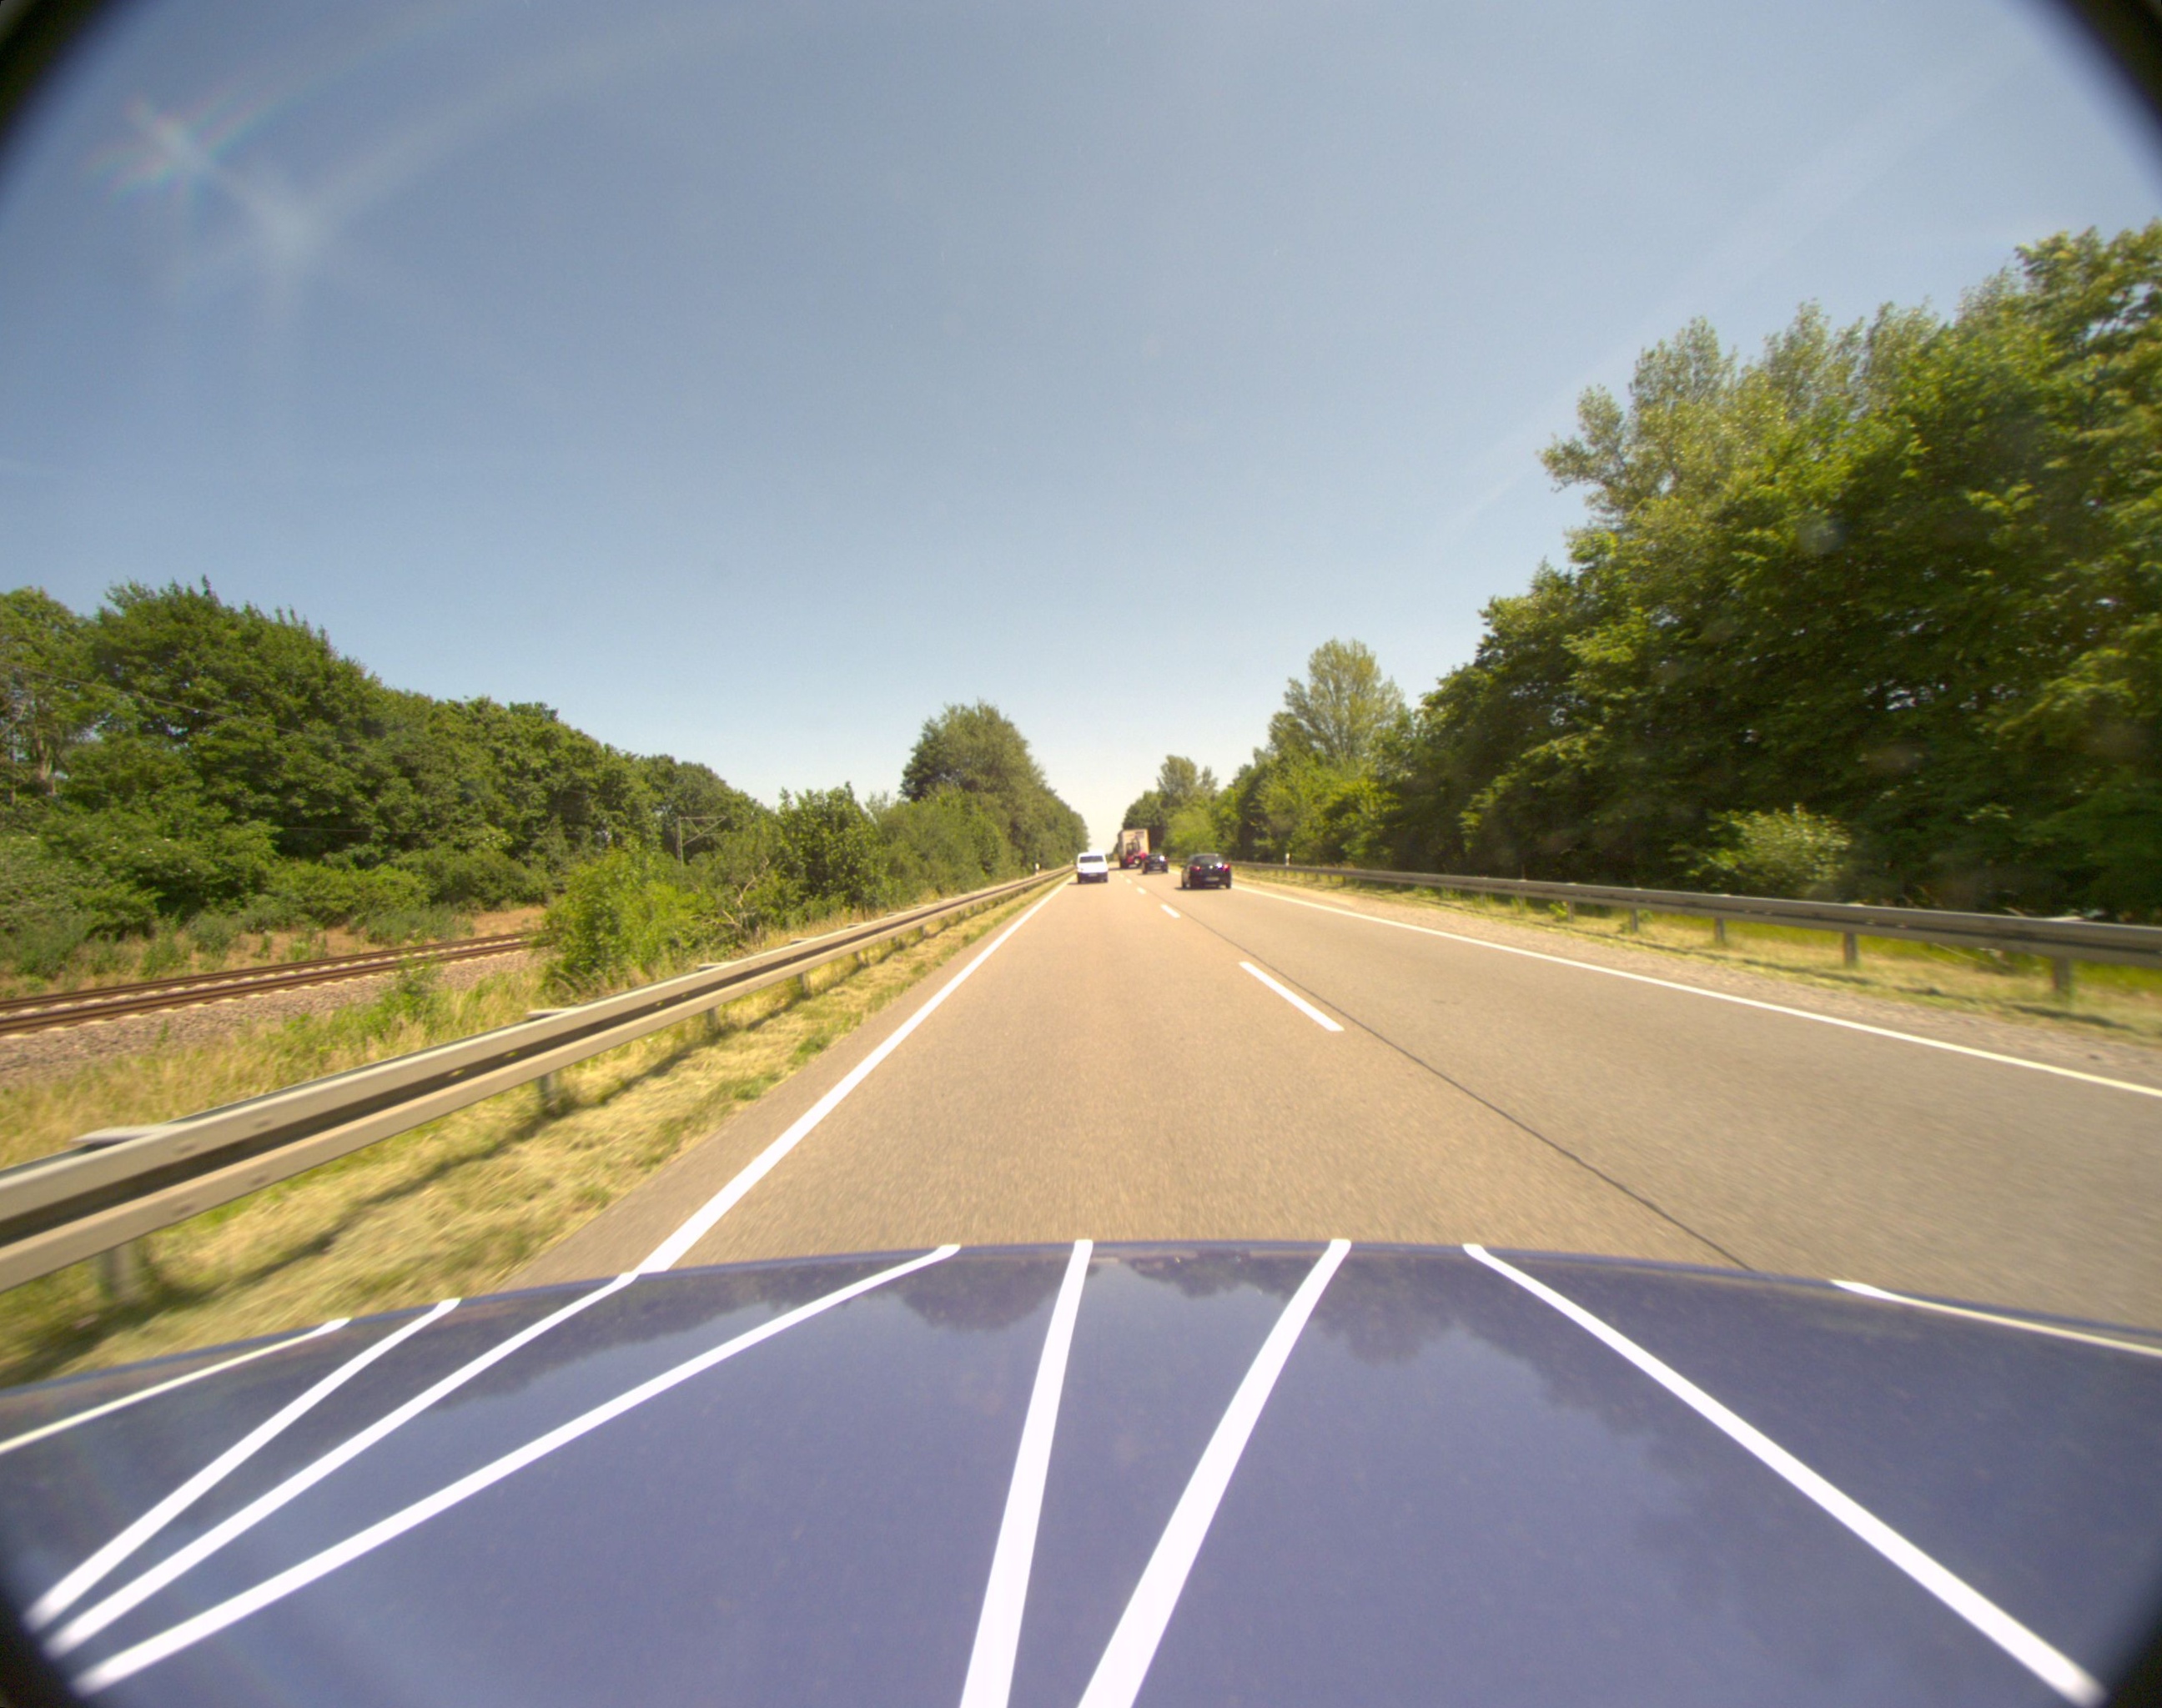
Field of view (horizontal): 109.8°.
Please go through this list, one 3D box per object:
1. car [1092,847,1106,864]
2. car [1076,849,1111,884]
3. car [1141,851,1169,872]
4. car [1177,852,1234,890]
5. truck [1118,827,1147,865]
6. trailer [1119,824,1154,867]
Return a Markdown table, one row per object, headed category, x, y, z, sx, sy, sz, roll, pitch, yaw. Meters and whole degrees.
| category | x | y | z | sx | sy | sz | roll | pitch | yaw |
| --- | --- | --- | --- | --- | --- | --- | --- | --- | --- |
| car | 2.662 | 0.203 | 110.618 | 1.782 | 2.286 | 4.107 | -5 | -1 | 2 |
| car | 0.749 | 0.704 | 43.307 | 1.782 | 1.743 | 4.513 | -4 | -1 | 2 |
| car | 5.415 | 0.513 | 56.084 | 1.638 | 1.429 | 4.180 | -2 | 0 | 1 |
| car | 5.167 | 0.658 | 32.076 | 1.638 | 1.429 | 4.414 | -2 | 0 | 0 |
| truck | 5.939 | -0.922 | 88.284 | 2.770 | 3.976 | 5.907 | -5 | 0 | 1 |
| trailer | 5.753 | -0.886 | 81.059 | 2.770 | 3.976 | 13.686 | -5 | 0 | 1 |
